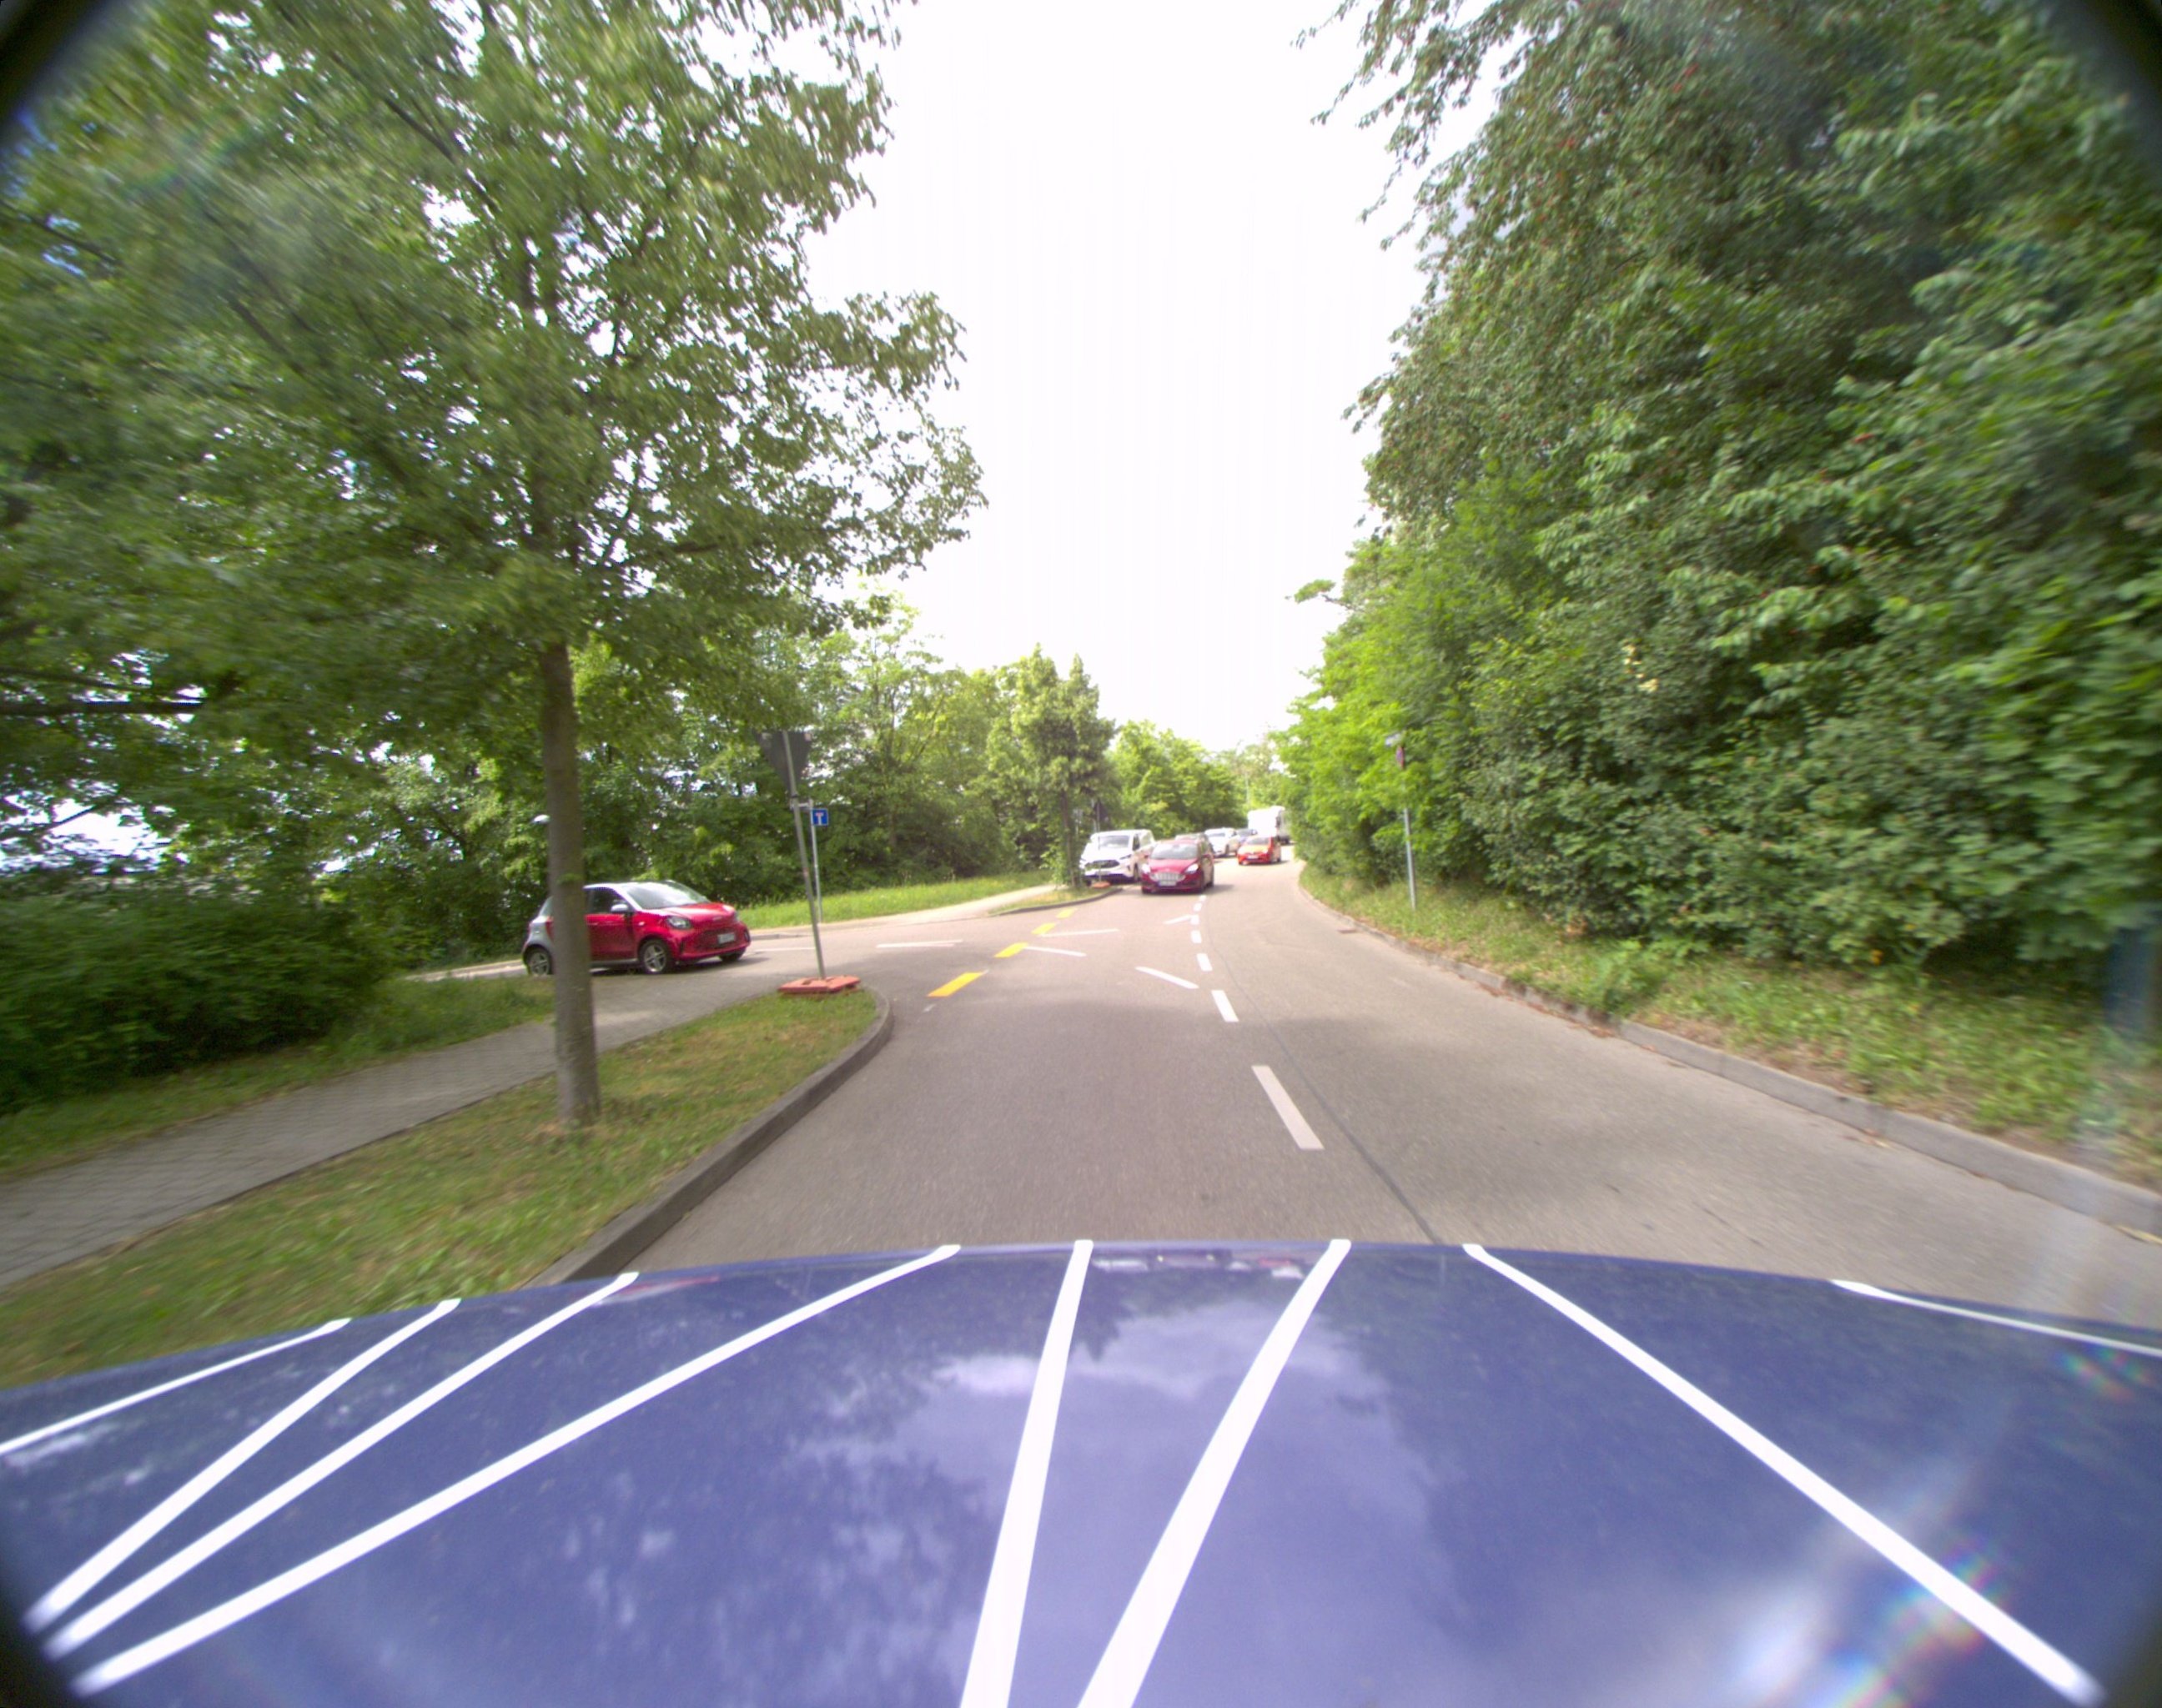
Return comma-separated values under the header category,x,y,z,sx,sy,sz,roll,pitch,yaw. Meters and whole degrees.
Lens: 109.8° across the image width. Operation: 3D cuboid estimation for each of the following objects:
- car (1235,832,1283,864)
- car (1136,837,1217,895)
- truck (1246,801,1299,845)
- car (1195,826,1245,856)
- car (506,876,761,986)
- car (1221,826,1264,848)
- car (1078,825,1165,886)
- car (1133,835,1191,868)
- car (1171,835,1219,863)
category,x,y,z,sx,sy,sz,roll,pitch,yaw
car,9.268,-0.328,39.351,1.793,1.405,4.117,-1,3,22
car,3.182,0.338,24.505,1.909,1.689,4.392,-1,1,16
truck,14.843,-2.364,58.653,2.219,3.124,6.158,-2,1,31
car,8.519,-0.821,46.219,1.793,1.703,4.112,-2,1,27
car,-7.393,1.263,12.615,3.481,1.509,1.653,-3,2,18
car,11.109,-1.160,52.143,1.793,1.374,4.112,-2,1,27
car,1.673,0.005,29.122,1.867,2.047,5.433,-2,1,19
car,3.839,-0.148,35.566,1.793,1.405,4.110,-2,1,19
car,6.212,-0.302,41.113,1.793,1.405,4.110,-2,1,19
